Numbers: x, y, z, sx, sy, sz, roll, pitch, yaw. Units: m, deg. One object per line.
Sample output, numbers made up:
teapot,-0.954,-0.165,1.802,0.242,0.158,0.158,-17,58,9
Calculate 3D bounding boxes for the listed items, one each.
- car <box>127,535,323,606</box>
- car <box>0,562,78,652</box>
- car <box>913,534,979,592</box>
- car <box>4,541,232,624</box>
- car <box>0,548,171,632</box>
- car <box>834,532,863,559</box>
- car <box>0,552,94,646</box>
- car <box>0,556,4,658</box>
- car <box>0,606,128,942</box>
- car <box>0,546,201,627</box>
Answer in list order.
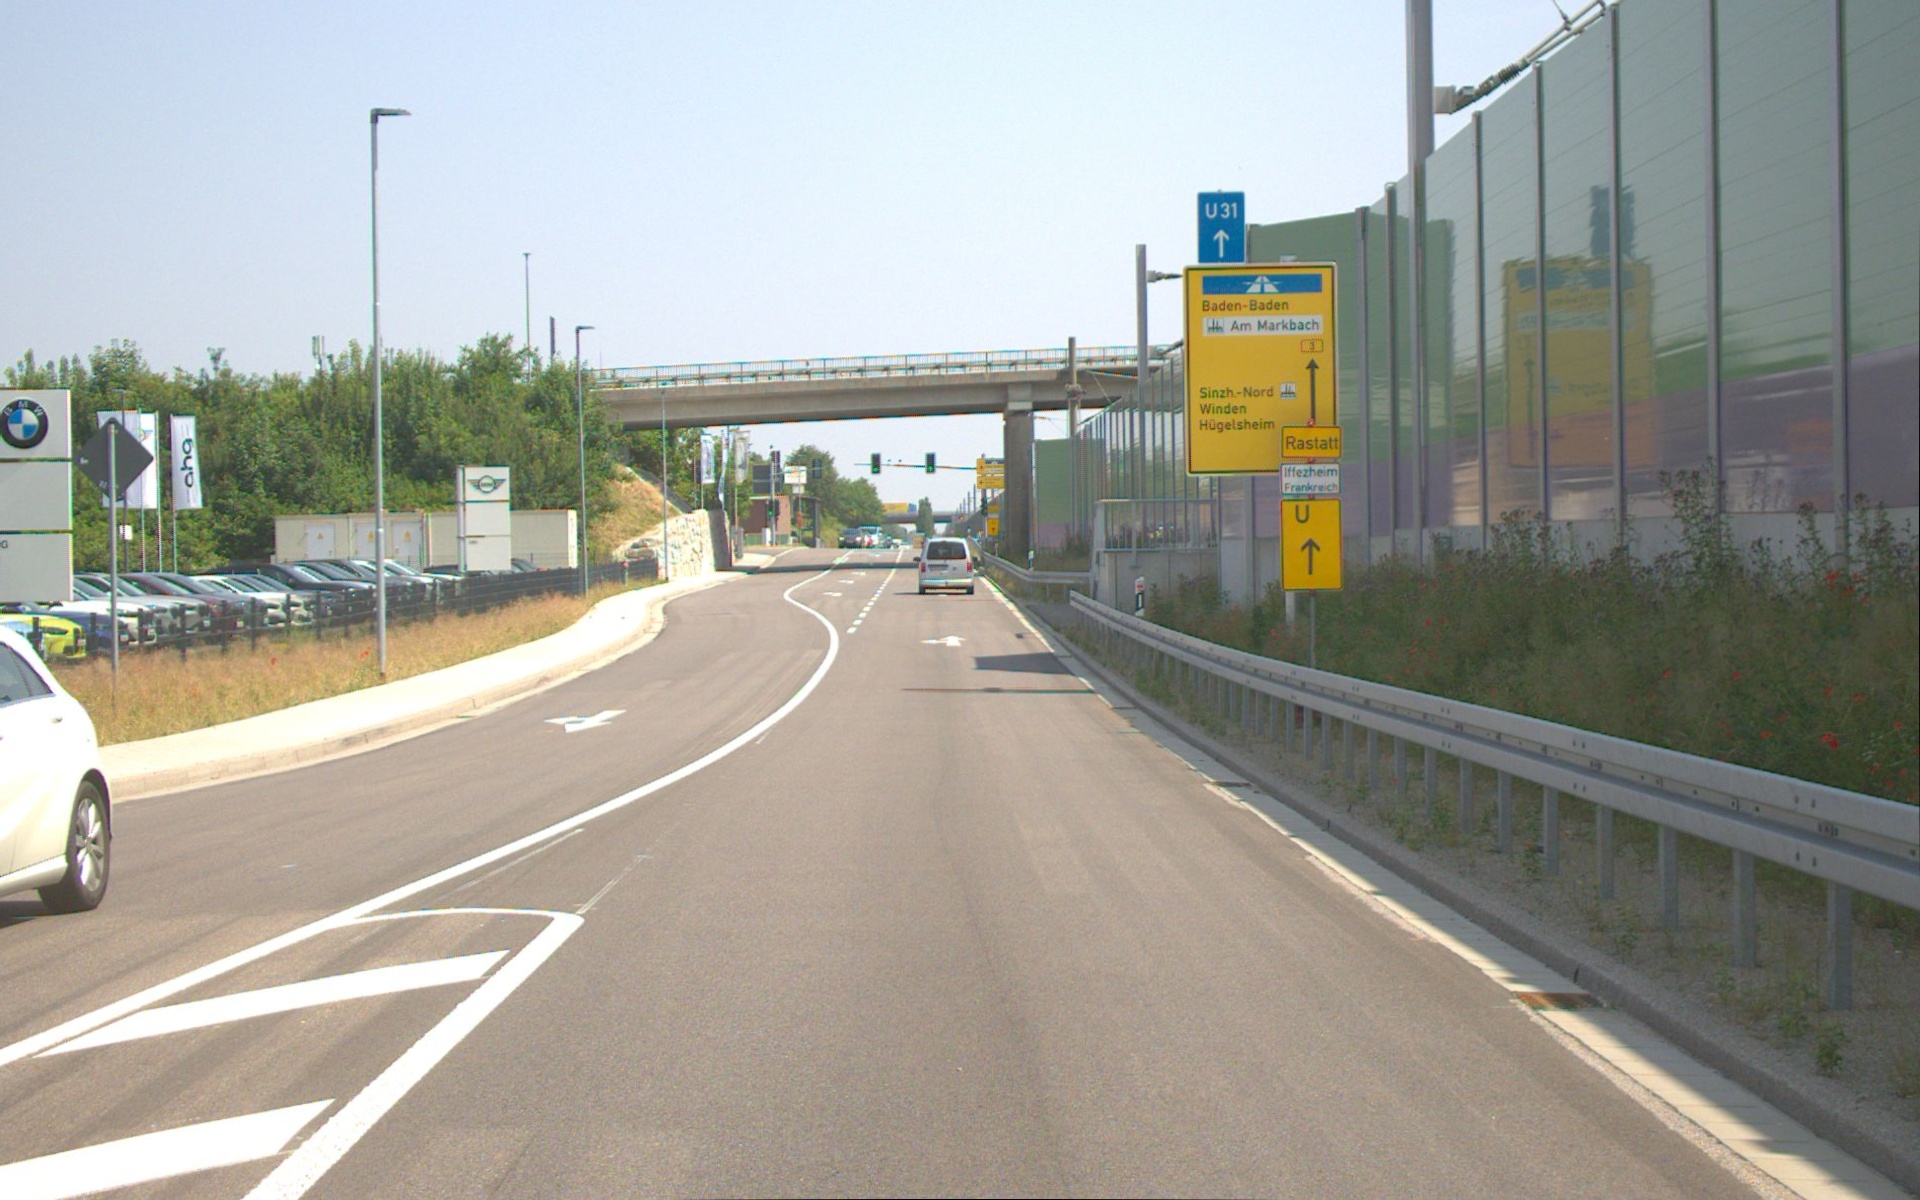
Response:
car,-17.206,-0.700,80.562,4.164,1.539,1.815,-1,2,0
car,-16.716,0.136,56.330,3.987,1.386,1.879,-1,2,1
car,-0.428,-1.202,109.164,1.993,1.751,4.000,-1,1,1
car,-17.166,-0.366,70.221,4.164,1.539,1.815,-1,2,0
car,-17.150,-0.187,64.654,4.164,1.461,1.815,-1,2,0
car,-8.091,-3.950,249.137,1.993,1.919,4.000,-1,1,-1
car,-17.067,-0.001,58.825,3.987,1.529,1.815,-1,2,0
car,-16.705,0.180,51.843,3.986,1.567,2.054,-1,2,-2
car,-5.021,0.779,14.808,1.781,1.411,4.050,-1,1,1
car,-17.196,-0.277,67.461,4.164,1.461,1.815,-1,2,0
